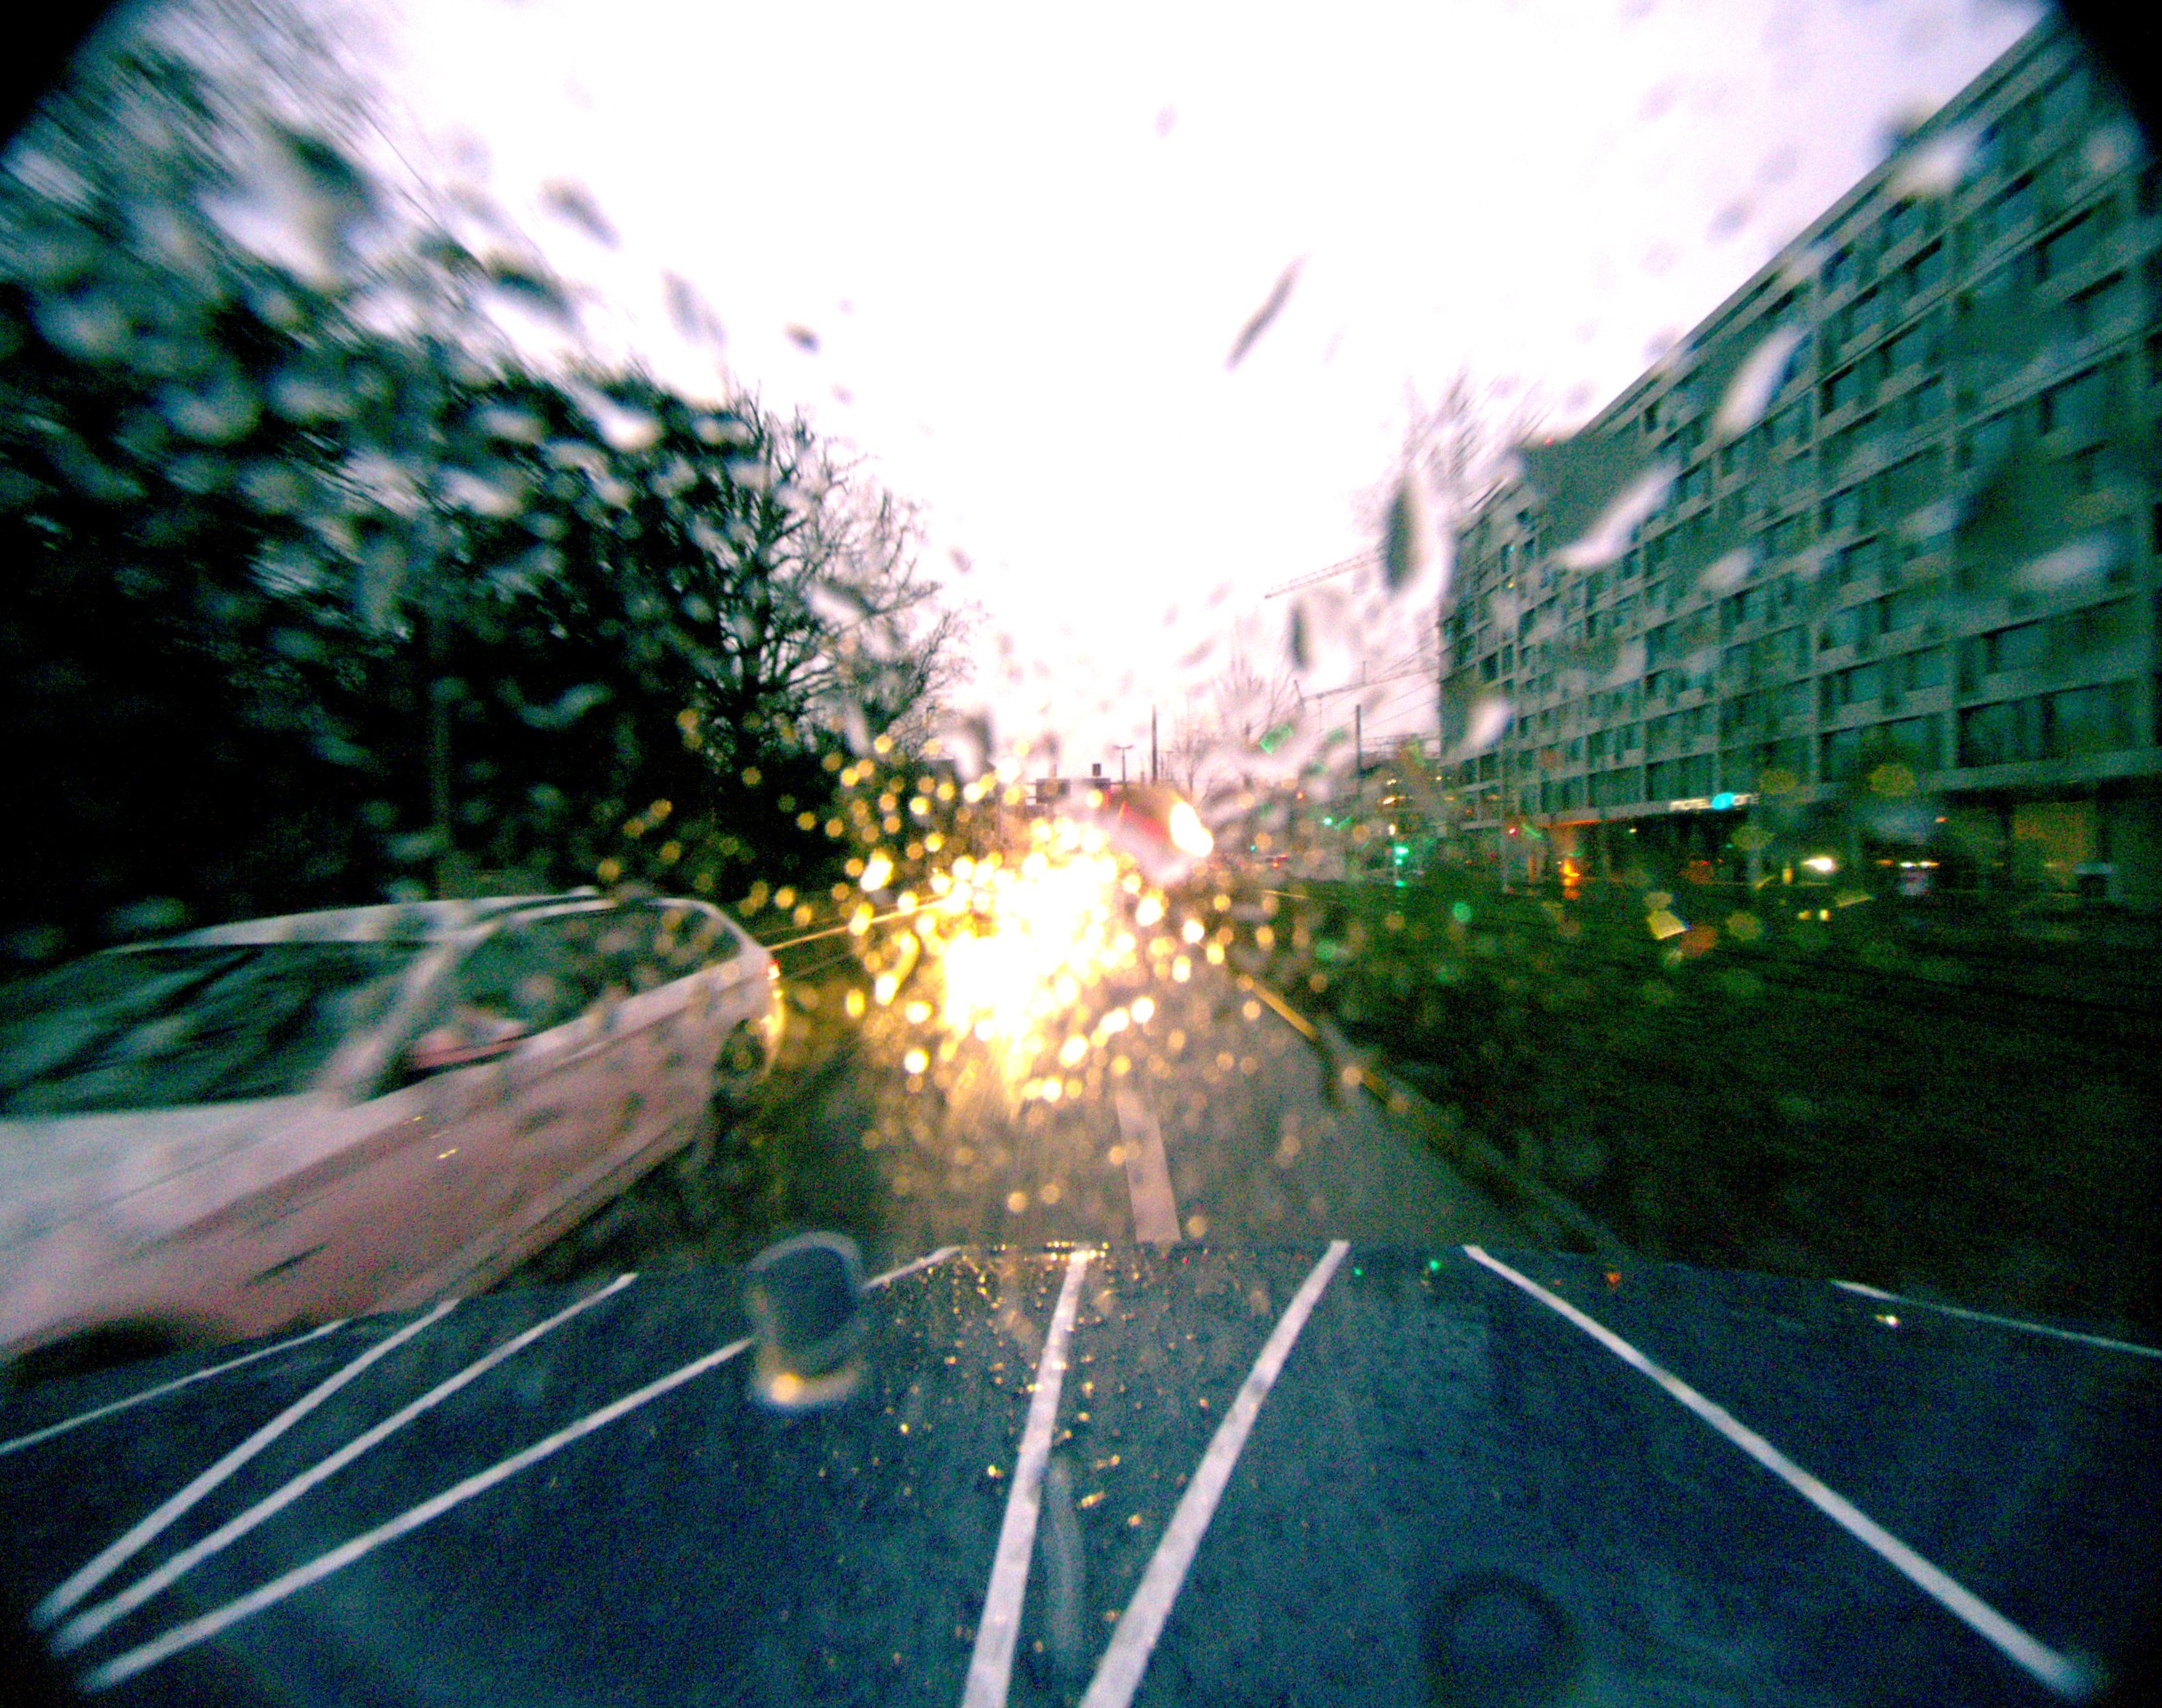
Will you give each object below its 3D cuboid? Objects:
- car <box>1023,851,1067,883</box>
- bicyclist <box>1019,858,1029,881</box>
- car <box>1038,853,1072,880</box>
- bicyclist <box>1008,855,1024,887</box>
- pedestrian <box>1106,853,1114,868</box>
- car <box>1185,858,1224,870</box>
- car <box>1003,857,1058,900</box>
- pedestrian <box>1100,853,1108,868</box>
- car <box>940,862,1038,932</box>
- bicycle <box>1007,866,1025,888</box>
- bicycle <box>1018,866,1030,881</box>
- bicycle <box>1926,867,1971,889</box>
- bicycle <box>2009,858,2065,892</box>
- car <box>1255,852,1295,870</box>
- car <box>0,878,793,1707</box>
[{"bbox_3d":[-1.960,0.685,42.633,2.073,1.618,4.268,-2,0,2],"label":"car"},{"bbox_3d":[-4.293,1.148,57.119,0.692,1.675,0.593,-3,1,-1],"label":"bicyclist"},{"bbox_3d":[-1.684,0.788,50.677,1.998,1.618,4.268,-3,0,1],"label":"car"},{"bbox_3d":[-4.596,1.195,53.507,0.968,2.210,0.935,-3,1,-1],"label":"bicyclist"},{"bbox_3d":[3.531,0.764,91.585,0.769,1.794,0.711,-2,1,11],"label":"pedestrian"},{"bbox_3d":[13.482,1.088,83.288,1.821,1.300,3.989,0,0,-41],"label":"car"},{"bbox_3d":[-2.114,0.993,32.930,2.073,1.618,4.267,-3,0,-1],"label":"car"},{"bbox_3d":[2.781,0.755,92.317,0.768,1.794,0.711,-2,1,15],"label":"pedestrian"},{"bbox_3d":[-2.215,1.017,19.440,1.886,1.552,4.171,0,0,2],"label":"car"},{"bbox_3d":[-4.597,1.590,53.643,0.968,1.442,3.389,-3,0,-1],"label":"bicycle"},{"bbox_3d":[-4.269,1.453,57.042,0.692,1.036,1.721,-3,1,-1],"label":"bicycle"},{"bbox_3d":[36.532,1.002,32.007,1.349,0.849,0.465,-3,1,-1],"label":"bicycle"},{"bbox_3d":[36.958,0.794,29.377,1.539,1.231,0.465,-3,1,-1],"label":"bicycle"},{"bbox_3d":[19.050,0.693,74.859,2.088,1.659,5.040,0,0,-7],"label":"car"},{"bbox_3d":[-2.897,0.938,2.696,1.867,1.547,4.938,0,0,0],"label":"car"}]
